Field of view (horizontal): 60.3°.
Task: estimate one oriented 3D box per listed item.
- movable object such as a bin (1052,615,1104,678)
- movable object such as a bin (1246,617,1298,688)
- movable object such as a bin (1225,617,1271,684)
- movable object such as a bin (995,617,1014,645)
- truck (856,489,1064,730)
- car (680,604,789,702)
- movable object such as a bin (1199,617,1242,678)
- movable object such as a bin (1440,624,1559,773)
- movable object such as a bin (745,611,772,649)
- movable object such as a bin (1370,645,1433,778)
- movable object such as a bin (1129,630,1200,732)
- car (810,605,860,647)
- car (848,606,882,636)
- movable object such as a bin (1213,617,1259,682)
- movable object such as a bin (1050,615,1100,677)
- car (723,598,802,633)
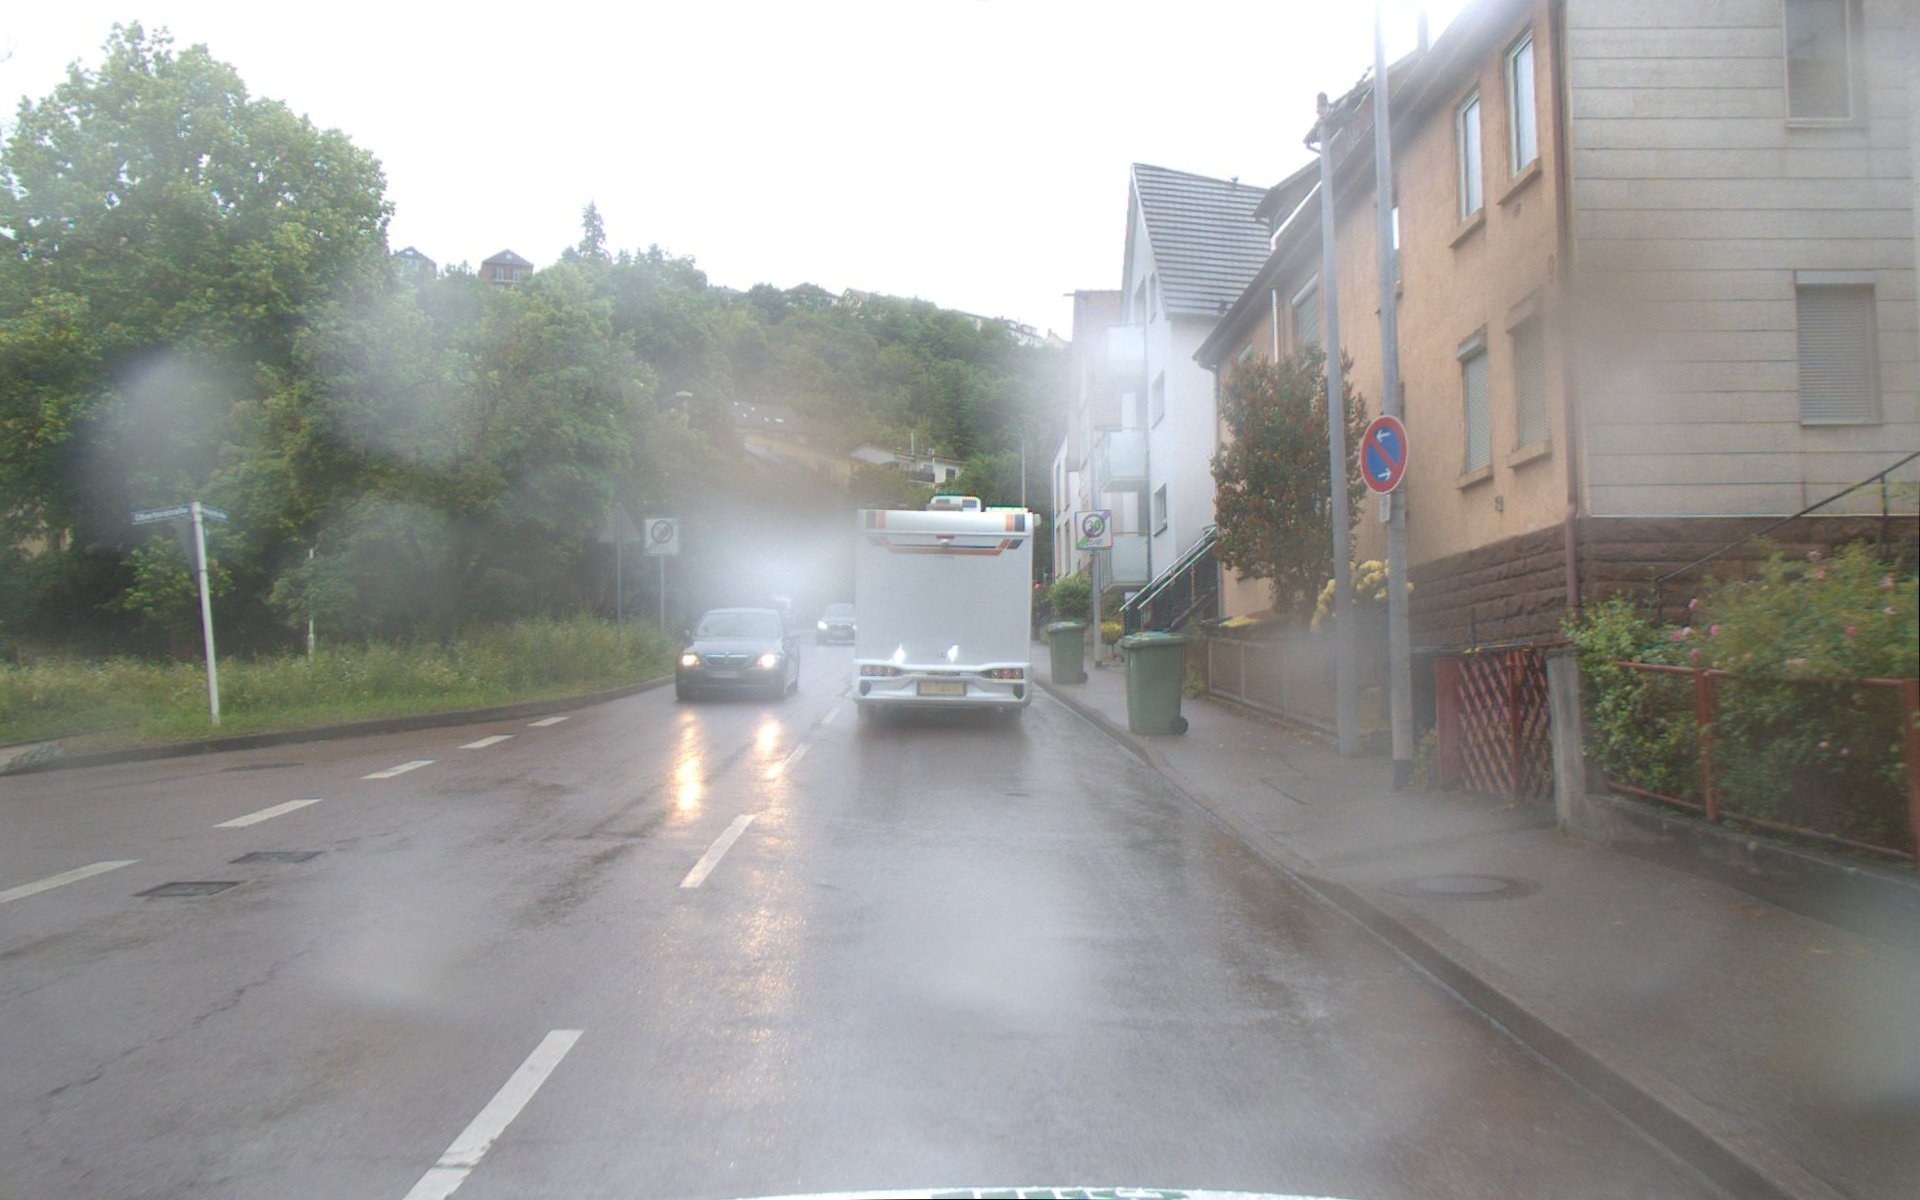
[{"bbox_3d":[2.129,0.841,29.961,0.895,1.122,0.702,0,0,1],"label":"movable object such as a bin"},{"bbox_3d":[5.130,0.850,27.245,0.647,1.112,0.655,-3,0,-3],"label":"movable object such as a bin"},{"bbox_3d":[5.076,0.888,29.199,0.632,1.112,0.545,-4,0,-3],"label":"movable object such as a bin"},{"bbox_3d":[1.474,1.034,55.021,0.617,0.913,0.712,0,0,-1],"label":"movable object such as a bin"},{"bbox_3d":[-0.056,0.129,22.849,2.464,2.867,6.200,0,0,-1],"label":"truck"},{"bbox_3d":[-3.639,0.814,27.218,1.530,1.480,4.081,0,0,-4],"label":"car"},{"bbox_3d":[4.991,0.908,31.670,0.647,1.112,0.545,-4,0,-3],"label":"movable object such as a bin"},{"bbox_3d":[4.277,0.764,13.147,0.597,1.095,0.791,-3,0,-3],"label":"movable object such as a bin"},{"bbox_3d":[-6.150,0.908,50.595,0.706,1.119,0.757,1,0,-1],"label":"movable object such as a bin"},{"bbox_3d":[3.557,0.888,13.330,0.372,1.036,0.487,0,0,-1],"label":"movable object such as a bin"},{"bbox_3d":[2.232,0.876,18.155,0.705,1.070,0.800,0,0,2],"label":"movable object such as a bin"},{"bbox_3d":[-4.518,0.923,60.312,1.684,1.455,3.843,0,0,-2],"label":"car"},{"bbox_3d":[-4.807,1.046,83.794,1.585,1.466,3.736,0,0,-1],"label":"car"},{"bbox_3d":[4.976,0.889,29.851,0.647,1.112,0.545,-4,0,-3],"label":"movable object such as a bin"},{"bbox_3d":[2.134,0.843,30.709,0.895,1.122,0.702,0,0,1],"label":"movable object such as a bin"},{"bbox_3d":[-10.717,0.824,89.814,4.021,1.831,2.000,0,0,1],"label":"car"}]
